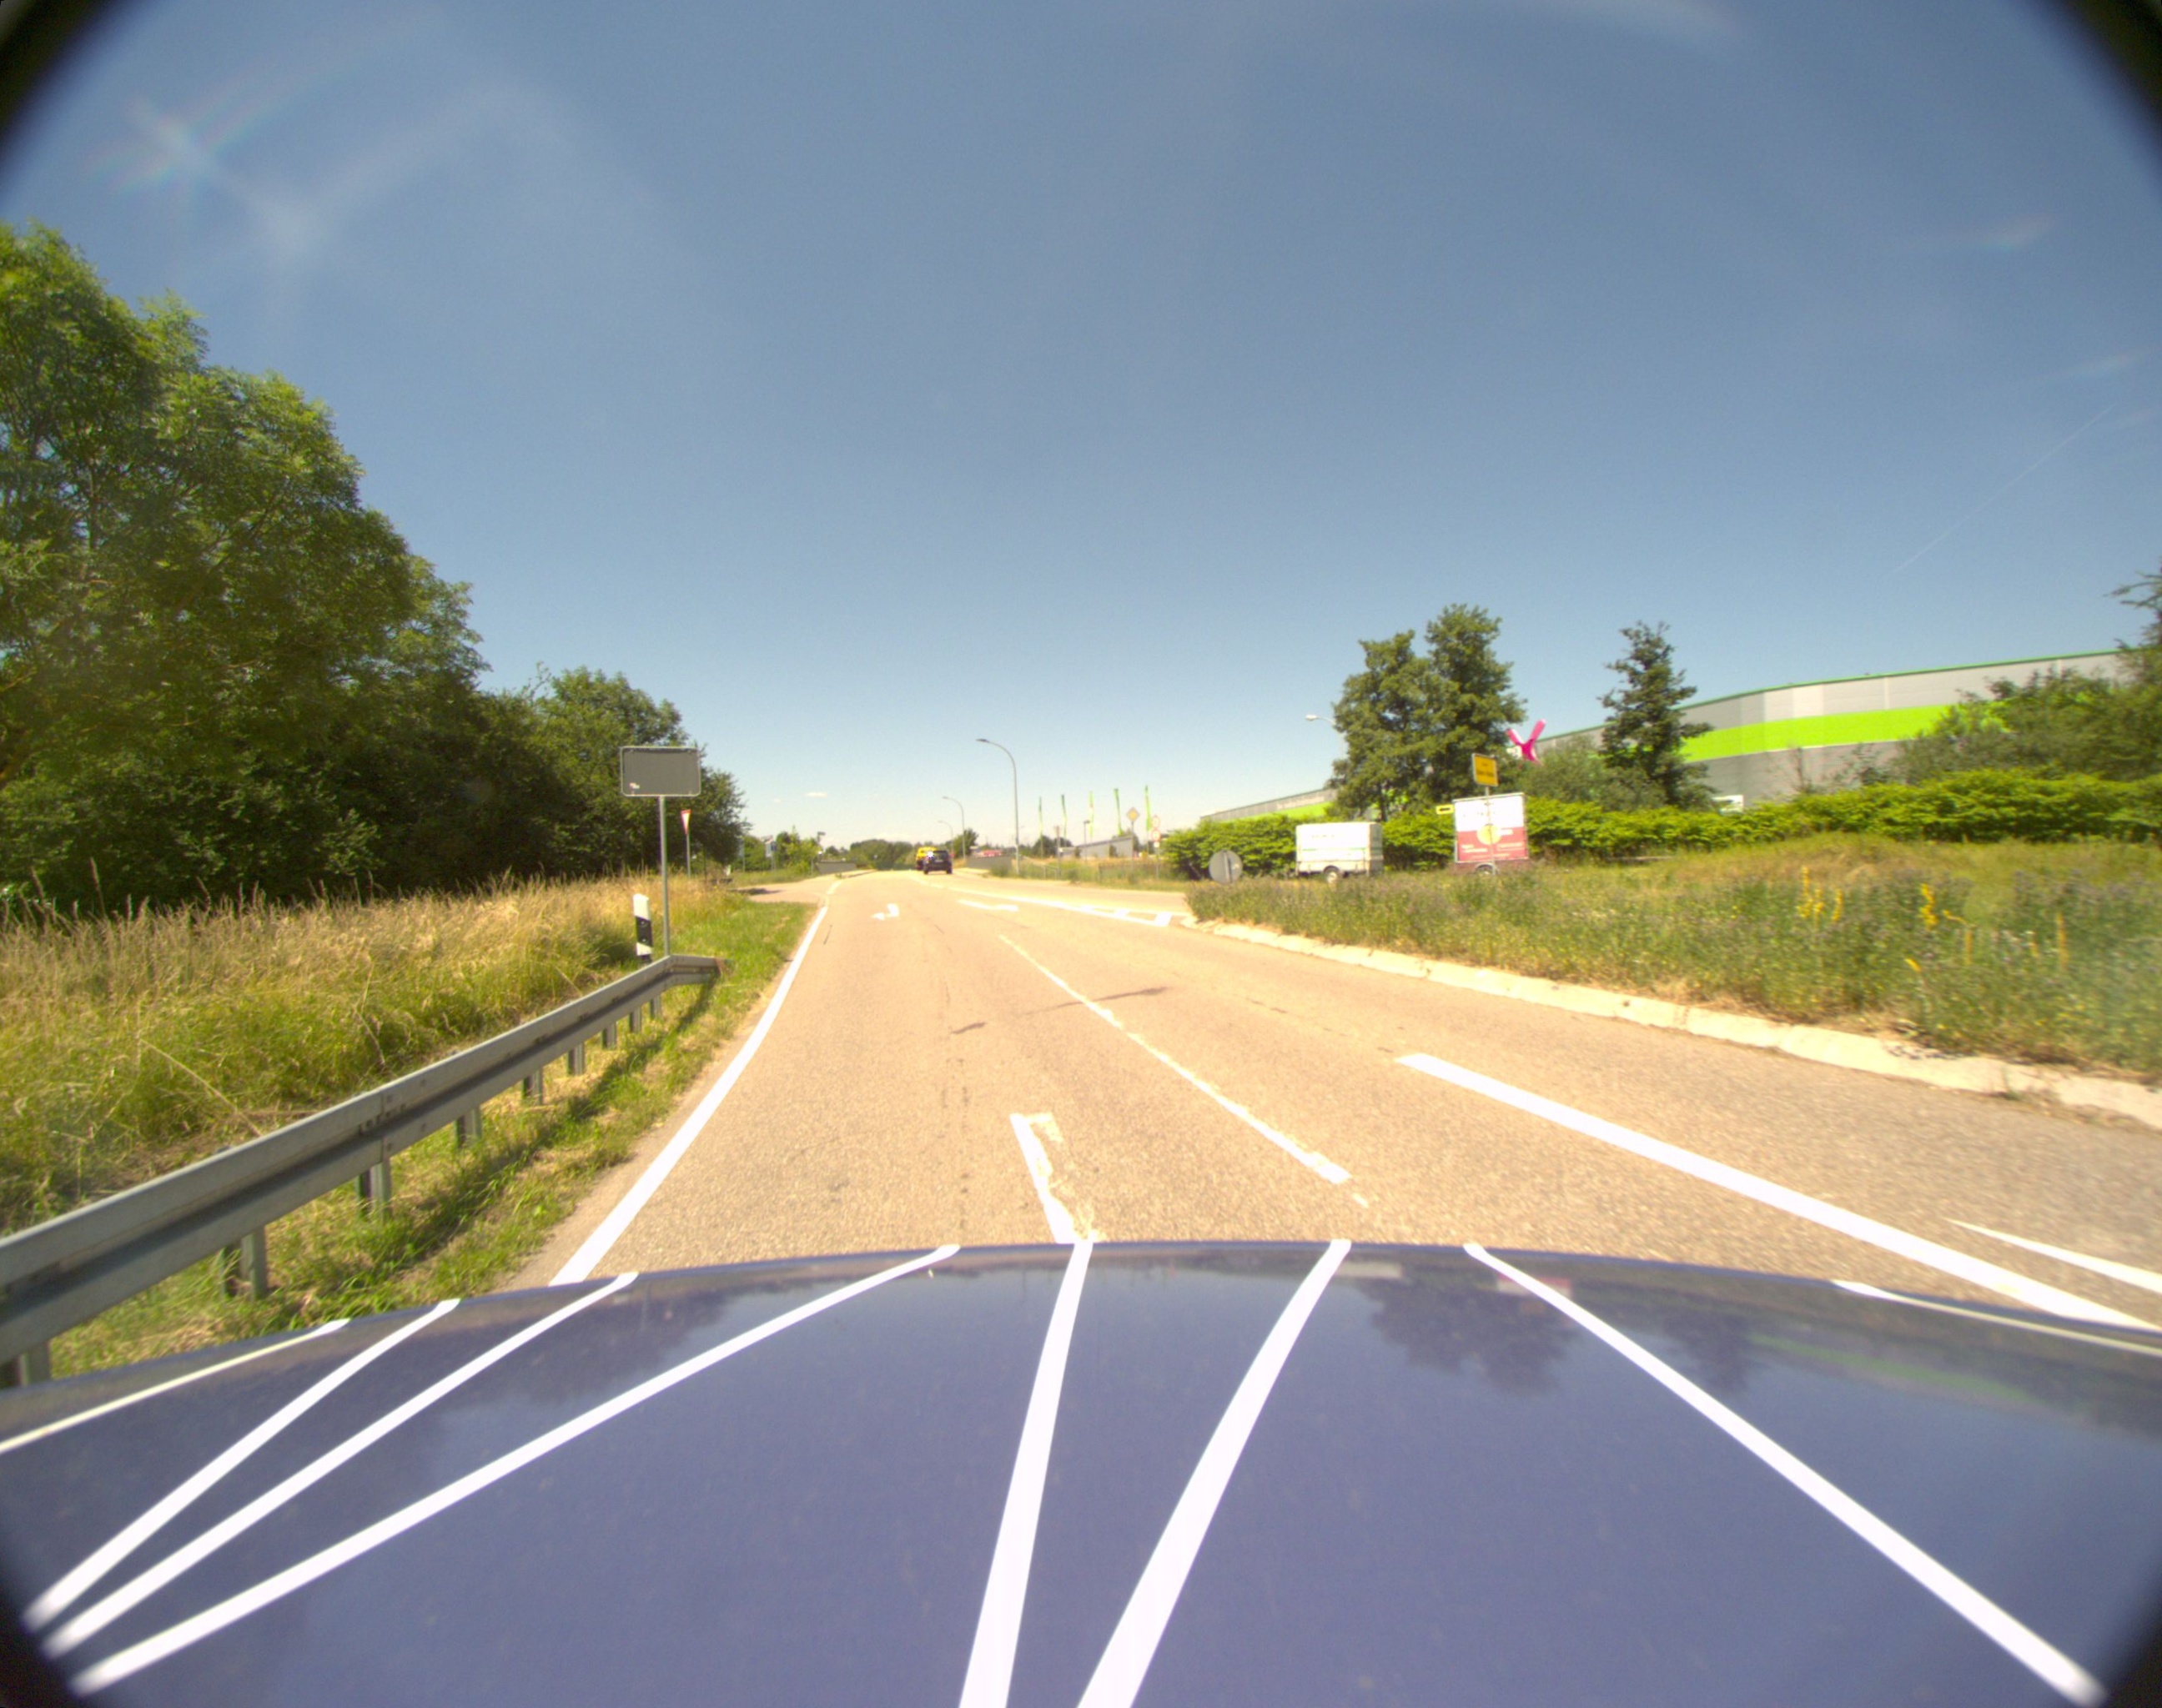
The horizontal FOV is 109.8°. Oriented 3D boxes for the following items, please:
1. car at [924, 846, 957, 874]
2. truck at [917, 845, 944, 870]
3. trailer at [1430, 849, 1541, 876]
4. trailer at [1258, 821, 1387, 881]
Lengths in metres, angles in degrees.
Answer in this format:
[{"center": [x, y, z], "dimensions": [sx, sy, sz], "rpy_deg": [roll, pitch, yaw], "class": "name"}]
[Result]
[{"center": [-9.463, 0.376, 50.988], "dimensions": [1.909, 1.693, 3.994], "rpy_deg": [-2, 2, -13], "class": "car"}, {"center": [-14.952, 0.312, 75.109], "dimensions": [2.319, 2.324, 9.039], "rpy_deg": [0, 1, -13], "class": "truck"}, {"center": [12.878, 0.286, 24.222], "dimensions": [2.844, 0.734, 1.568], "rpy_deg": [-2, 2, 40], "class": "trailer"}, {"center": [8.621, -0.085, 27.270], "dimensions": [3.949, 2.002, 1.860], "rpy_deg": [-2, 2, 40], "class": "trailer"}]
